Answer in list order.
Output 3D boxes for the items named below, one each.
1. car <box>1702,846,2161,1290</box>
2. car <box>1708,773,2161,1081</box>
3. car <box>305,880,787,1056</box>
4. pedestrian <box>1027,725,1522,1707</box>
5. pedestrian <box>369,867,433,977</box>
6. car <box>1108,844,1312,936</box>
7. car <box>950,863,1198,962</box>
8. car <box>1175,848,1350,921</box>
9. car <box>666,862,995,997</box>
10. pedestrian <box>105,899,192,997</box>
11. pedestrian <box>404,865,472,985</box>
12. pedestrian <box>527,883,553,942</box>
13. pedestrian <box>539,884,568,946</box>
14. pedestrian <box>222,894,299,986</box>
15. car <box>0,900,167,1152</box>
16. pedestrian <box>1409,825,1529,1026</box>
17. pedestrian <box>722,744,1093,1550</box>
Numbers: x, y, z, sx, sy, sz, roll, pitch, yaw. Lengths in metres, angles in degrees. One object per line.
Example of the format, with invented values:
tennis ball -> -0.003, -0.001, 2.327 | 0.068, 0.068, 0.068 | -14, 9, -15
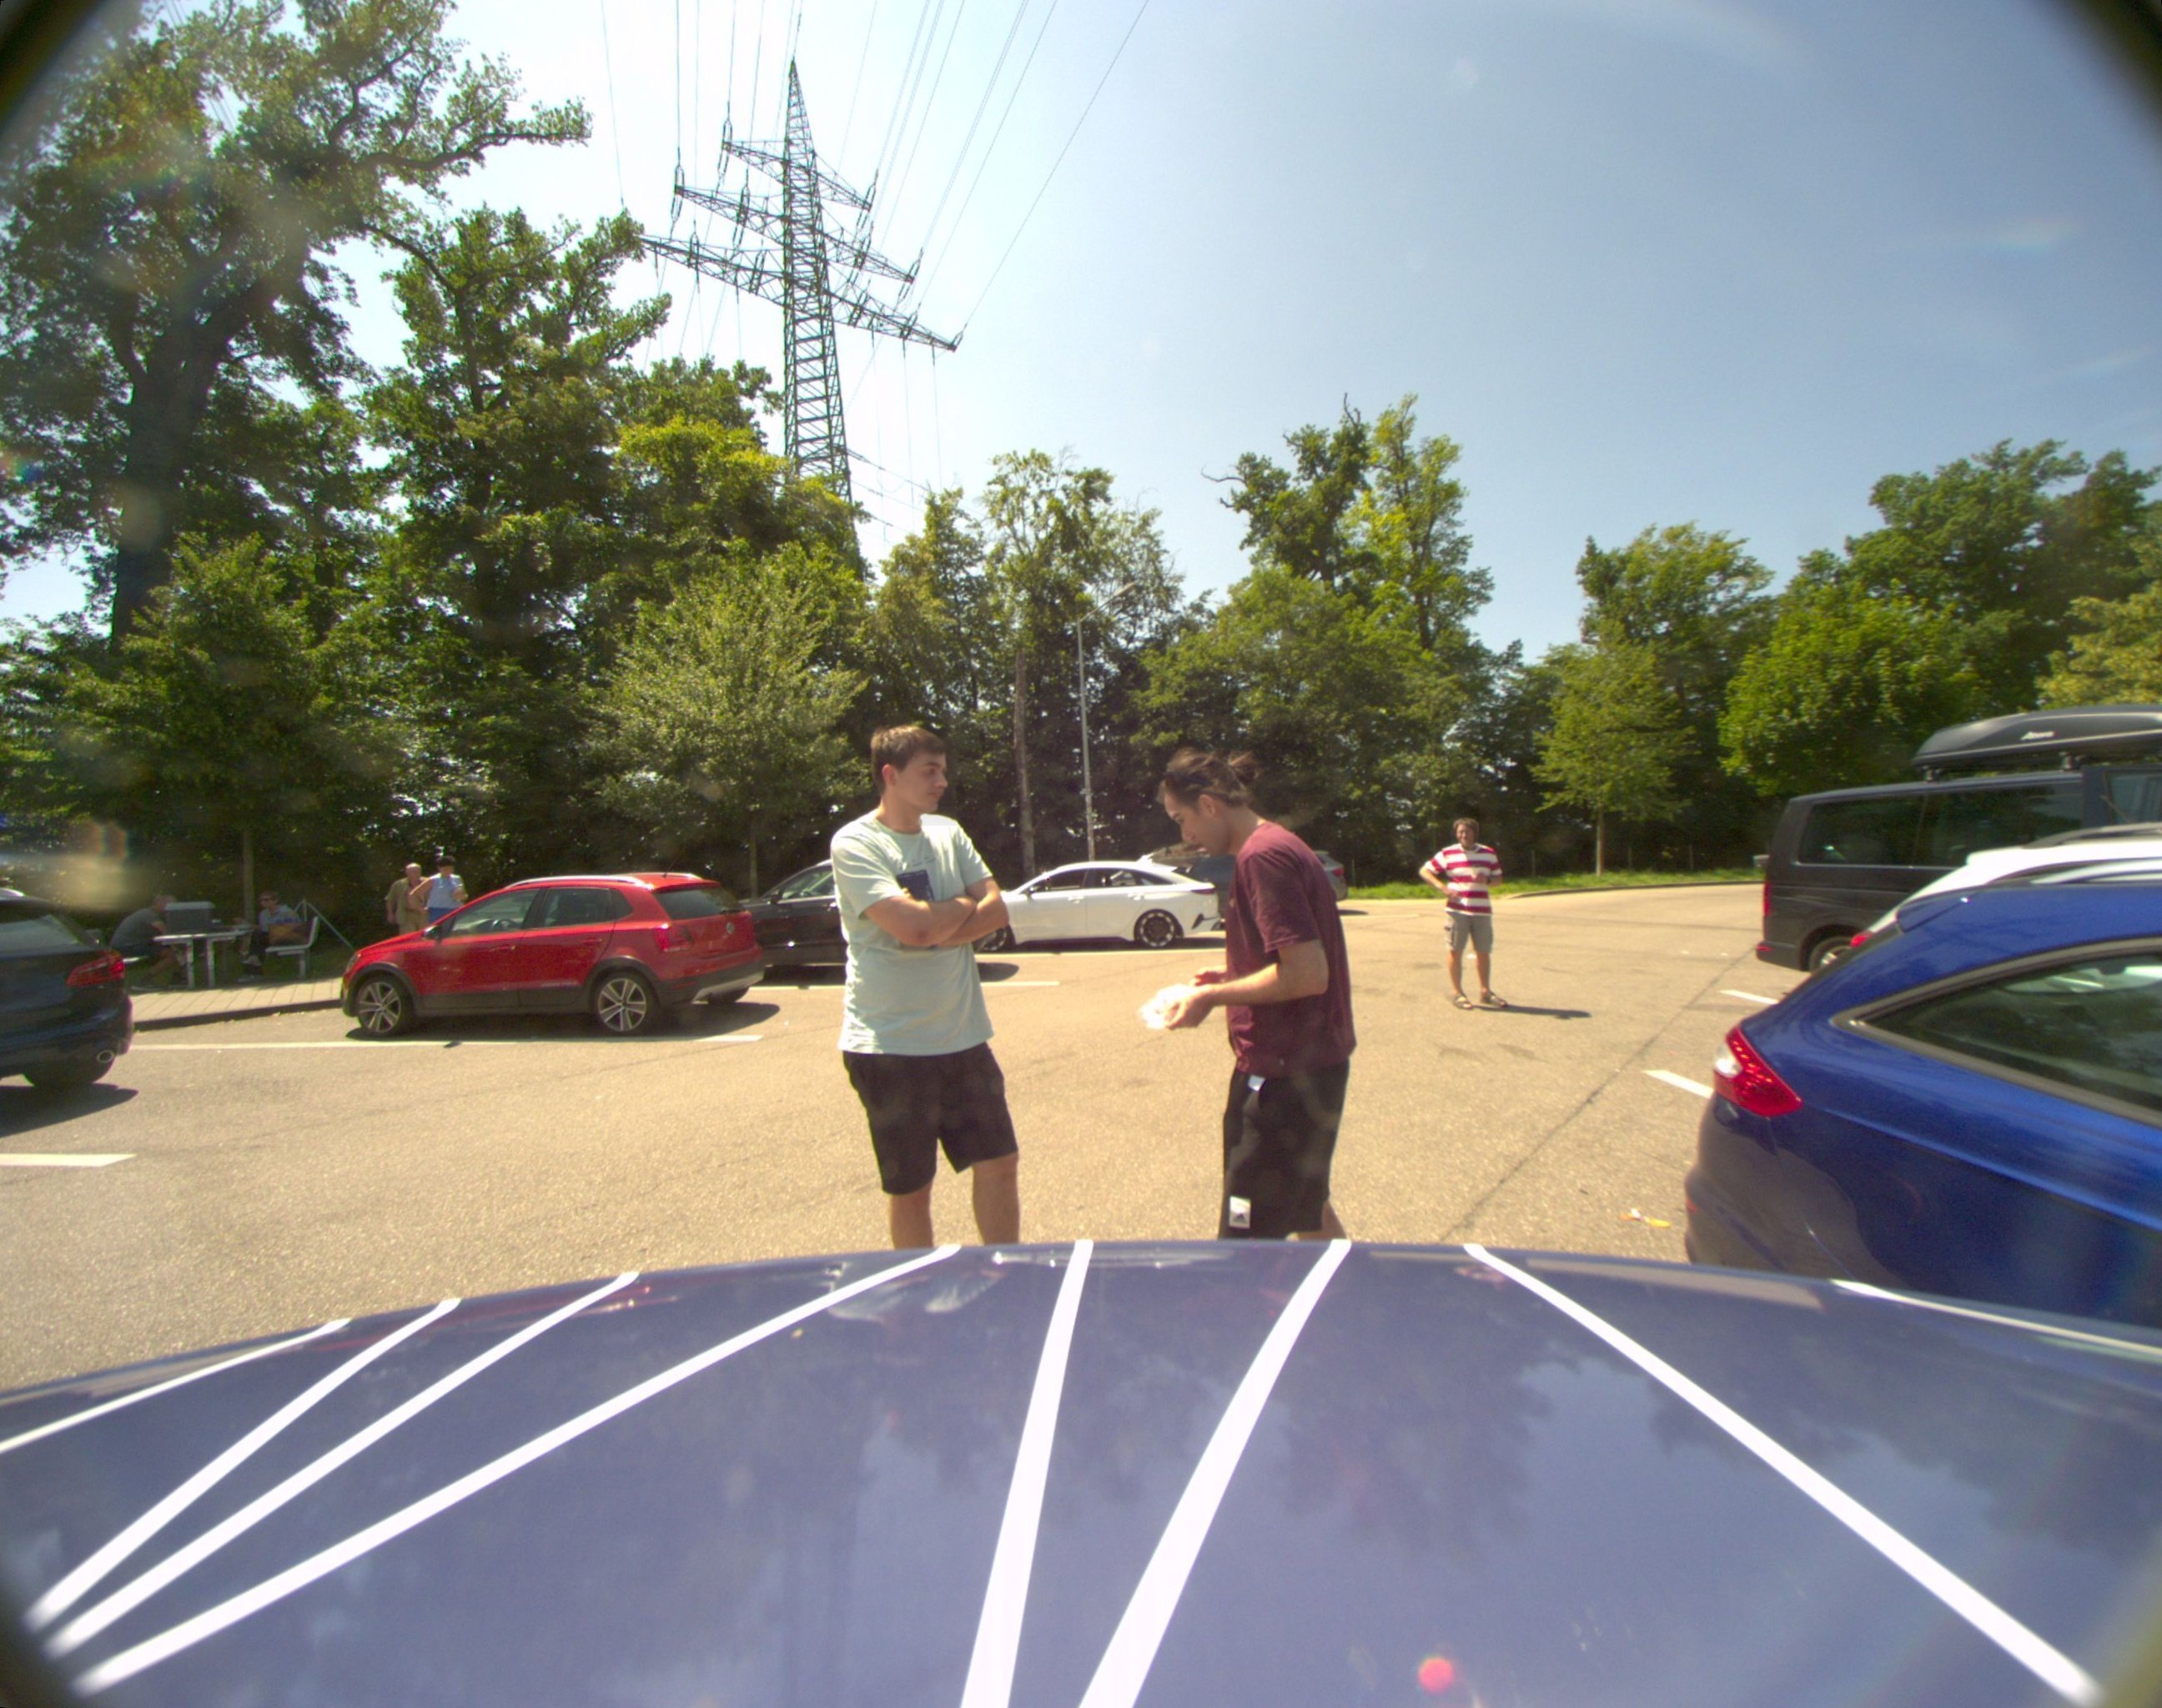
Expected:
car -> 4.654, 0.732, 2.259 | 1.757, 1.496, 4.574 | -3, -1, -1
car -> 7.382, 0.418, 5.290 | 1.758, 1.886, 4.571 | -3, -1, -9
car -> -5.223, 1.088, 7.677 | 3.823, 1.460, 1.651 | -2, 1, 8
pedestrian -> 0.476, 0.716, 1.936 | 0.919, 1.894, 0.815 | -2, 1, 16
pedestrian -> -10.383, 1.012, 11.616 | 0.648, 1.596, 0.571 | -3, 2, -41
car -> 2.615, 0.712, 15.463 | 3.822, 1.686, 1.652 | -2, 1, 12
car -> -0.066, 0.933, 12.681 | 3.825, 1.394, 1.651 | -2, 1, 4
car -> 4.274, 0.709, 18.158 | 3.822, 1.551, 1.652 | -2, 1, 12
car -> -3.242, 0.961, 10.306 | 3.825, 1.546, 1.651 | -2, 1, 4
pedestrian -> -12.720, 1.265, 10.379 | 0.595, 1.238, 0.446 | -3, 1, -33
pedestrian -> -9.029, 0.971, 10.668 | 0.648, 1.596, 0.571 | -3, 2, -41
pedestrian -> -11.001, 1.183, 15.446 | 0.357, 1.158, 0.384 | -3, 2, -41
pedestrian -> -10.156, 1.160, 14.630 | 0.357, 1.158, 0.384 | -3, 2, -41
pedestrian -> -11.853, 1.225, 10.993 | 0.595, 1.238, 0.499 | -3, 1, -33
car -> -9.024, 1.169, 5.011 | 4.338, 1.544, 1.749 | -1, 1, 8
pedestrian -> 3.552, 0.626, 7.022 | 0.754, 1.744, 0.786 | -2, 1, 11
pedestrian -> -0.415, 0.714, 2.301 | 0.813, 1.939, 0.920 | -2, 1, 0
